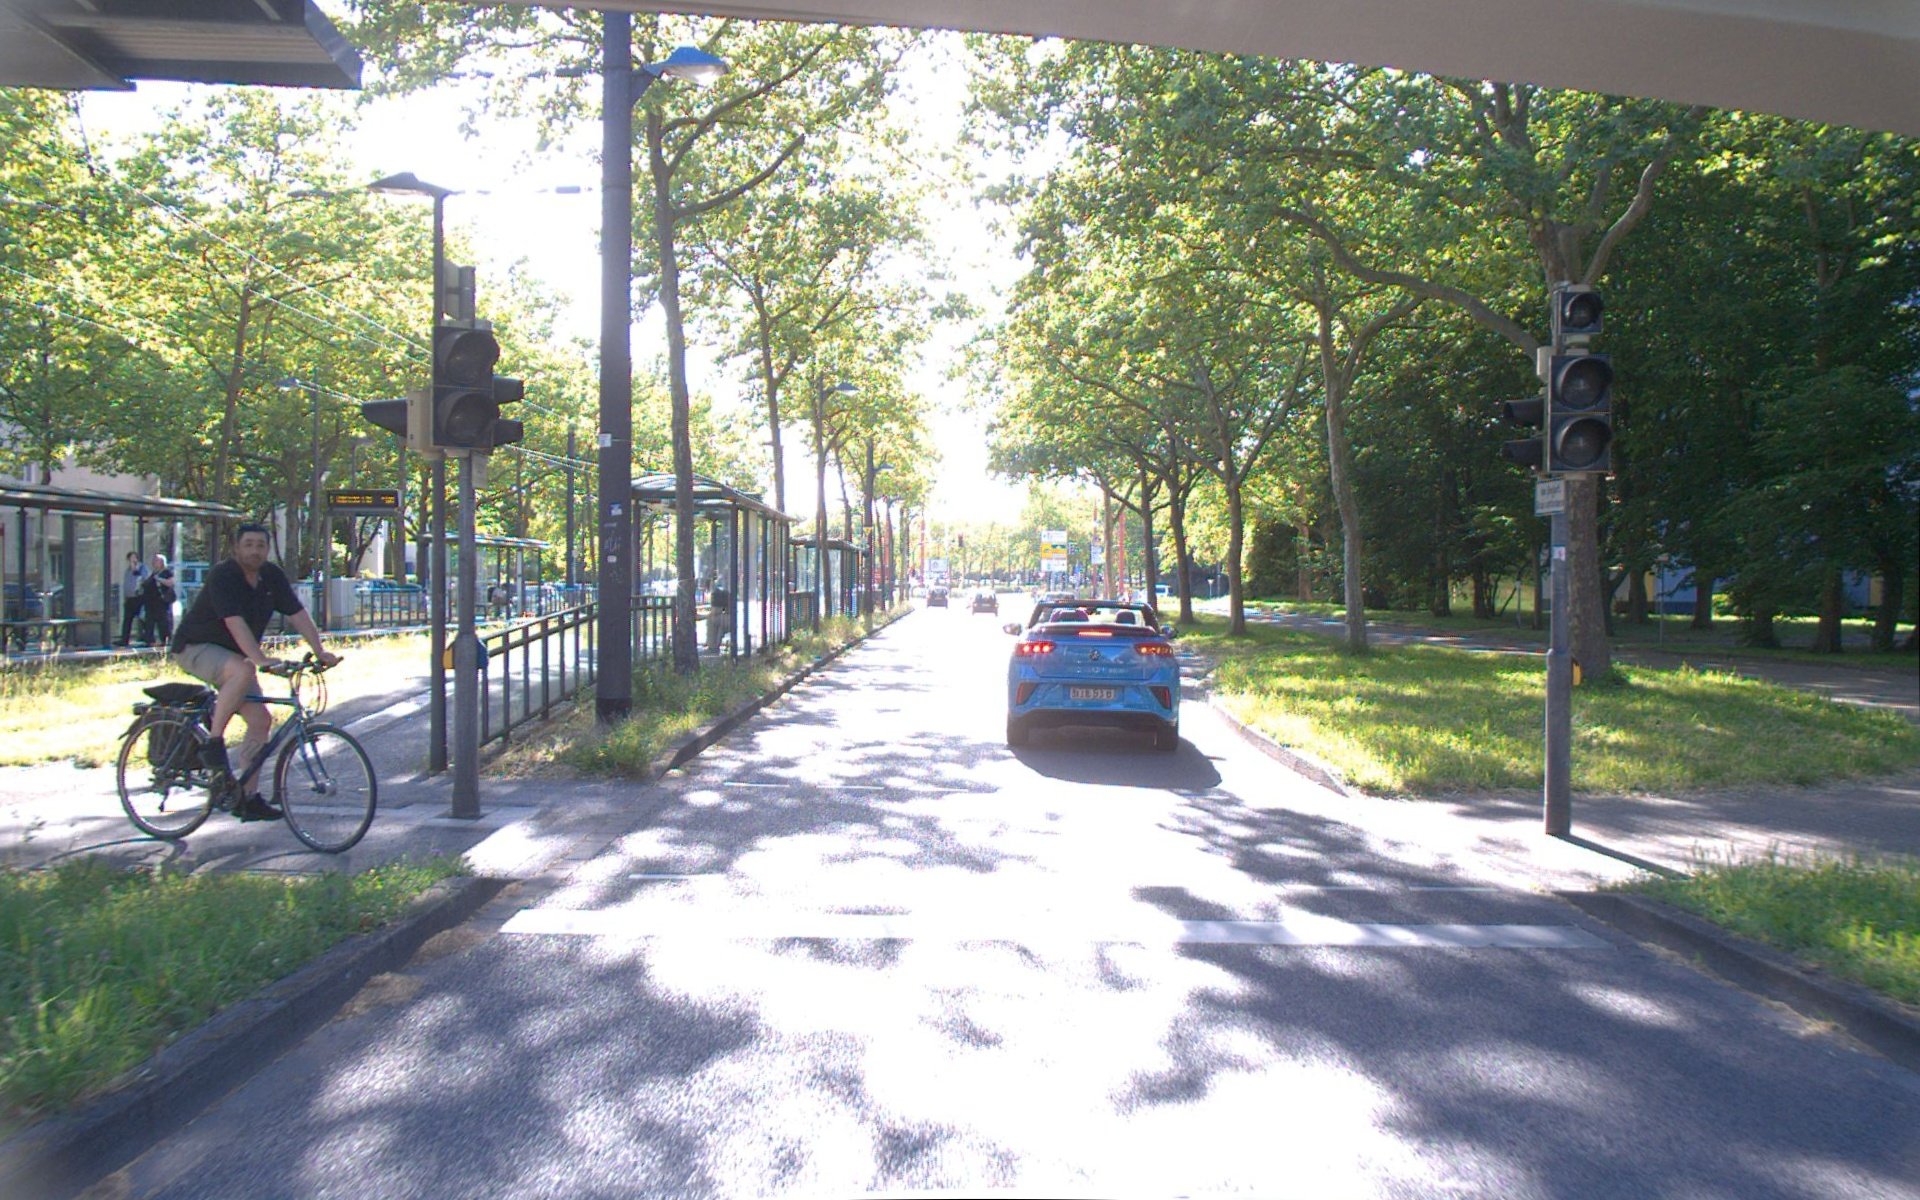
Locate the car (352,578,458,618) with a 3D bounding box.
[{"bbox_3d":[-23.735,-0.079,70.818,1.547,1.596,4.038,4,2,40],"label":"car"}]

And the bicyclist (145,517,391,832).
[{"bbox_3d":[-3.893,0.392,9.359,0.933,1.660,0.815,2,1,12],"label":"bicyclist"}]

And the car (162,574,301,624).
[{"bbox_3d":[-24.898,-0.026,56.606,1.662,1.638,4.030,3,1,45],"label":"car"}]

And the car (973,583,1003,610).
[{"bbox_3d":[1.644,-0.218,98.450,1.606,1.520,3.502,2,1,-2],"label":"car"}]

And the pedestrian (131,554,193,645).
[{"bbox_3d":[-13.693,-0.008,28.389,0.628,1.540,0.684,-1,0,17],"label":"pedestrian"}]

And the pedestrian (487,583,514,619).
[{"bbox_3d":[-15.265,0.034,54.963,0.680,1.147,0.662,-2,0,0],"label":"pedestrian"}]

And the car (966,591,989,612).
[{"bbox_3d":[1.282,0.116,124.142,1.644,1.500,4.130,2,0,0],"label":"car"}]

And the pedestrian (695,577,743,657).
[{"bbox_3d":[-3.939,0.268,27.042,0.719,1.274,0.587,2,0,-7],"label":"pedestrian"}]

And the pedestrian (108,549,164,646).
[{"bbox_3d":[-14.482,-0.045,29.070,0.710,1.663,0.719,0,0,-44],"label":"pedestrian"}]

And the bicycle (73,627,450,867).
[{"bbox_3d":[-3.933,0.789,9.372,1.792,1.167,0.815,3,1,12],"label":"bicycle"}]

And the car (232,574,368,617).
[{"bbox_3d":[-25.097,-0.178,63.002,1.865,1.530,4.476,2,1,40],"label":"car"}]

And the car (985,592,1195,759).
[{"bbox_3d":[1.286,0.717,17.966,1.740,1.509,4.098,3,0,-2],"label":"car"}]

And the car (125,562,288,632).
[{"bbox_3d":[-24.505,-0.081,53.877,4.457,2.099,1.873,2,1,-40],"label":"car"}]

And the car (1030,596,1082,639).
[{"bbox_3d":[4.352,0.787,75.584,1.941,1.823,4.613,2,0,-1],"label":"car"}]

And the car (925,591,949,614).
[{"bbox_3d":[-1.732,0.202,122.966,1.676,1.631,3.349,1,0,-2],"label":"car"}]

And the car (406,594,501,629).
[{"bbox_3d":[-24.286,0.551,79.387,1.616,1.571,4.153,2,1,40],"label":"car"}]
